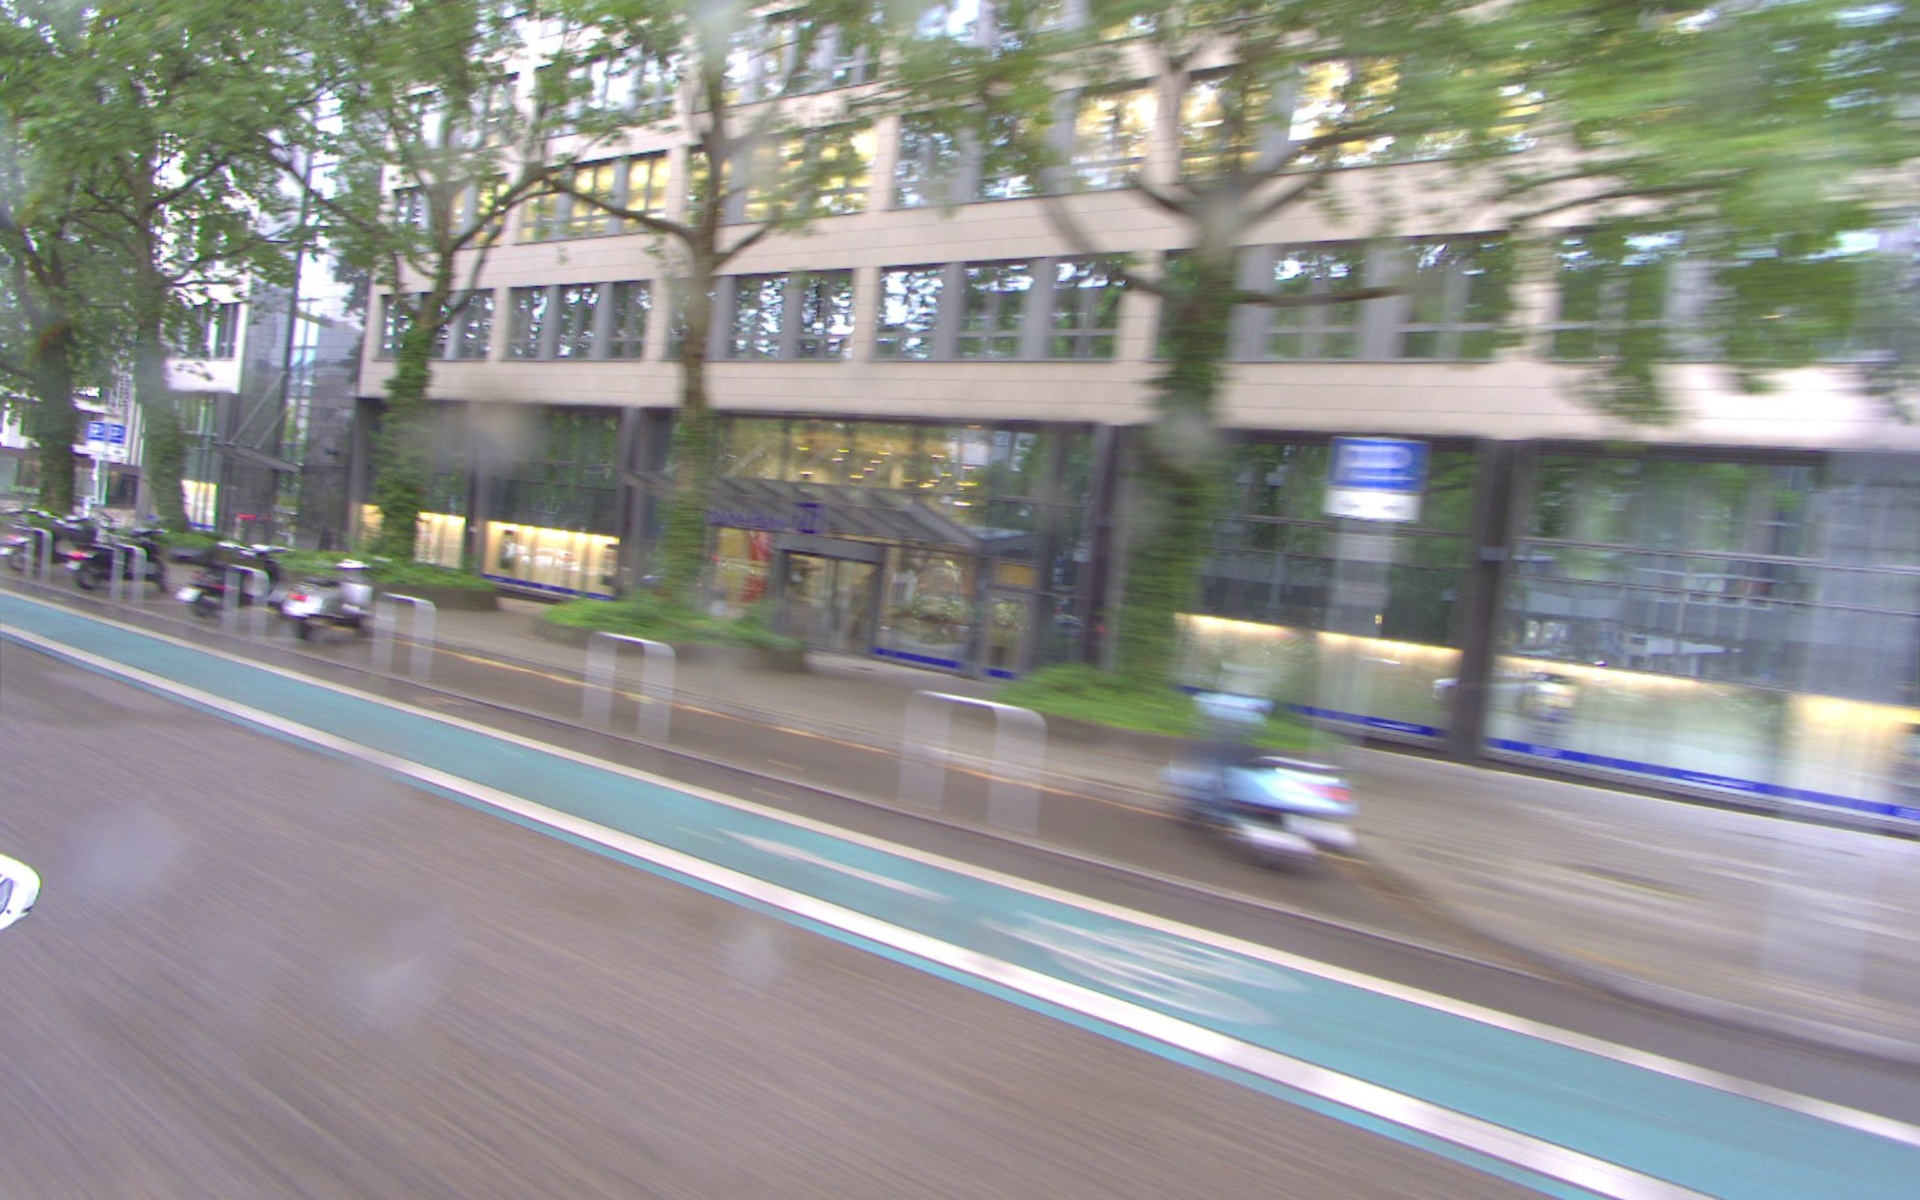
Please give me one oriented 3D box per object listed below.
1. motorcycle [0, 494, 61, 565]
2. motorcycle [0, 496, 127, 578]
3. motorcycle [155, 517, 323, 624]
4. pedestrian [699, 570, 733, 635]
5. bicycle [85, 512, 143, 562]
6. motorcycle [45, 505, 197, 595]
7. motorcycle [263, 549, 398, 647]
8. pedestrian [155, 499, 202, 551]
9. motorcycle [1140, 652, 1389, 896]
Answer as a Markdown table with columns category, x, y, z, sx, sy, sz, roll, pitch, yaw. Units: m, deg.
| category | x | y | z | sx | sy | sz | roll | pitch | yaw |
| --- | --- | --- | --- | --- | --- | --- | --- | --- | --- |
| motorcycle | -20.247 | -1.508 | 21.072 | 0.715 | 1.391 | 1.961 | 8 | 2 | 15 |
| motorcycle | -17.468 | -1.192 | 19.492 | 0.715 | 1.391 | 1.961 | 8 | 2 | 10 |
| motorcycle | -10.978 | -0.422 | 15.426 | 0.715 | 1.447 | 2.060 | 8 | 2 | 10 |
| pedestrian | -6.816 | 0.054 | 28.117 | 0.718 | 1.714 | 0.825 | 7 | 2 | -16 |
| bicycle | -19.765 | -1.467 | 23.527 | 0.632 | 1.040 | 1.750 | 7 | 0 | -30 |
| motorcycle | -14.658 | -0.839 | 17.653 | 0.715 | 1.391 | 1.961 | 8 | 2 | 10 |
| motorcycle | -8.926 | -0.056 | 14.371 | 0.672 | 1.229 | 2.057 | 5 | 2 | -4 |
| pedestrian | -31.431 | -3.011 | 40.472 | 1.255 | 1.872 | 0.919 | 7 | -1 | 30 |
| motorcycle | 2.165 | 1.198 | 7.498 | 0.674 | 1.386 | 1.937 | 4 | 2 | -18 |
